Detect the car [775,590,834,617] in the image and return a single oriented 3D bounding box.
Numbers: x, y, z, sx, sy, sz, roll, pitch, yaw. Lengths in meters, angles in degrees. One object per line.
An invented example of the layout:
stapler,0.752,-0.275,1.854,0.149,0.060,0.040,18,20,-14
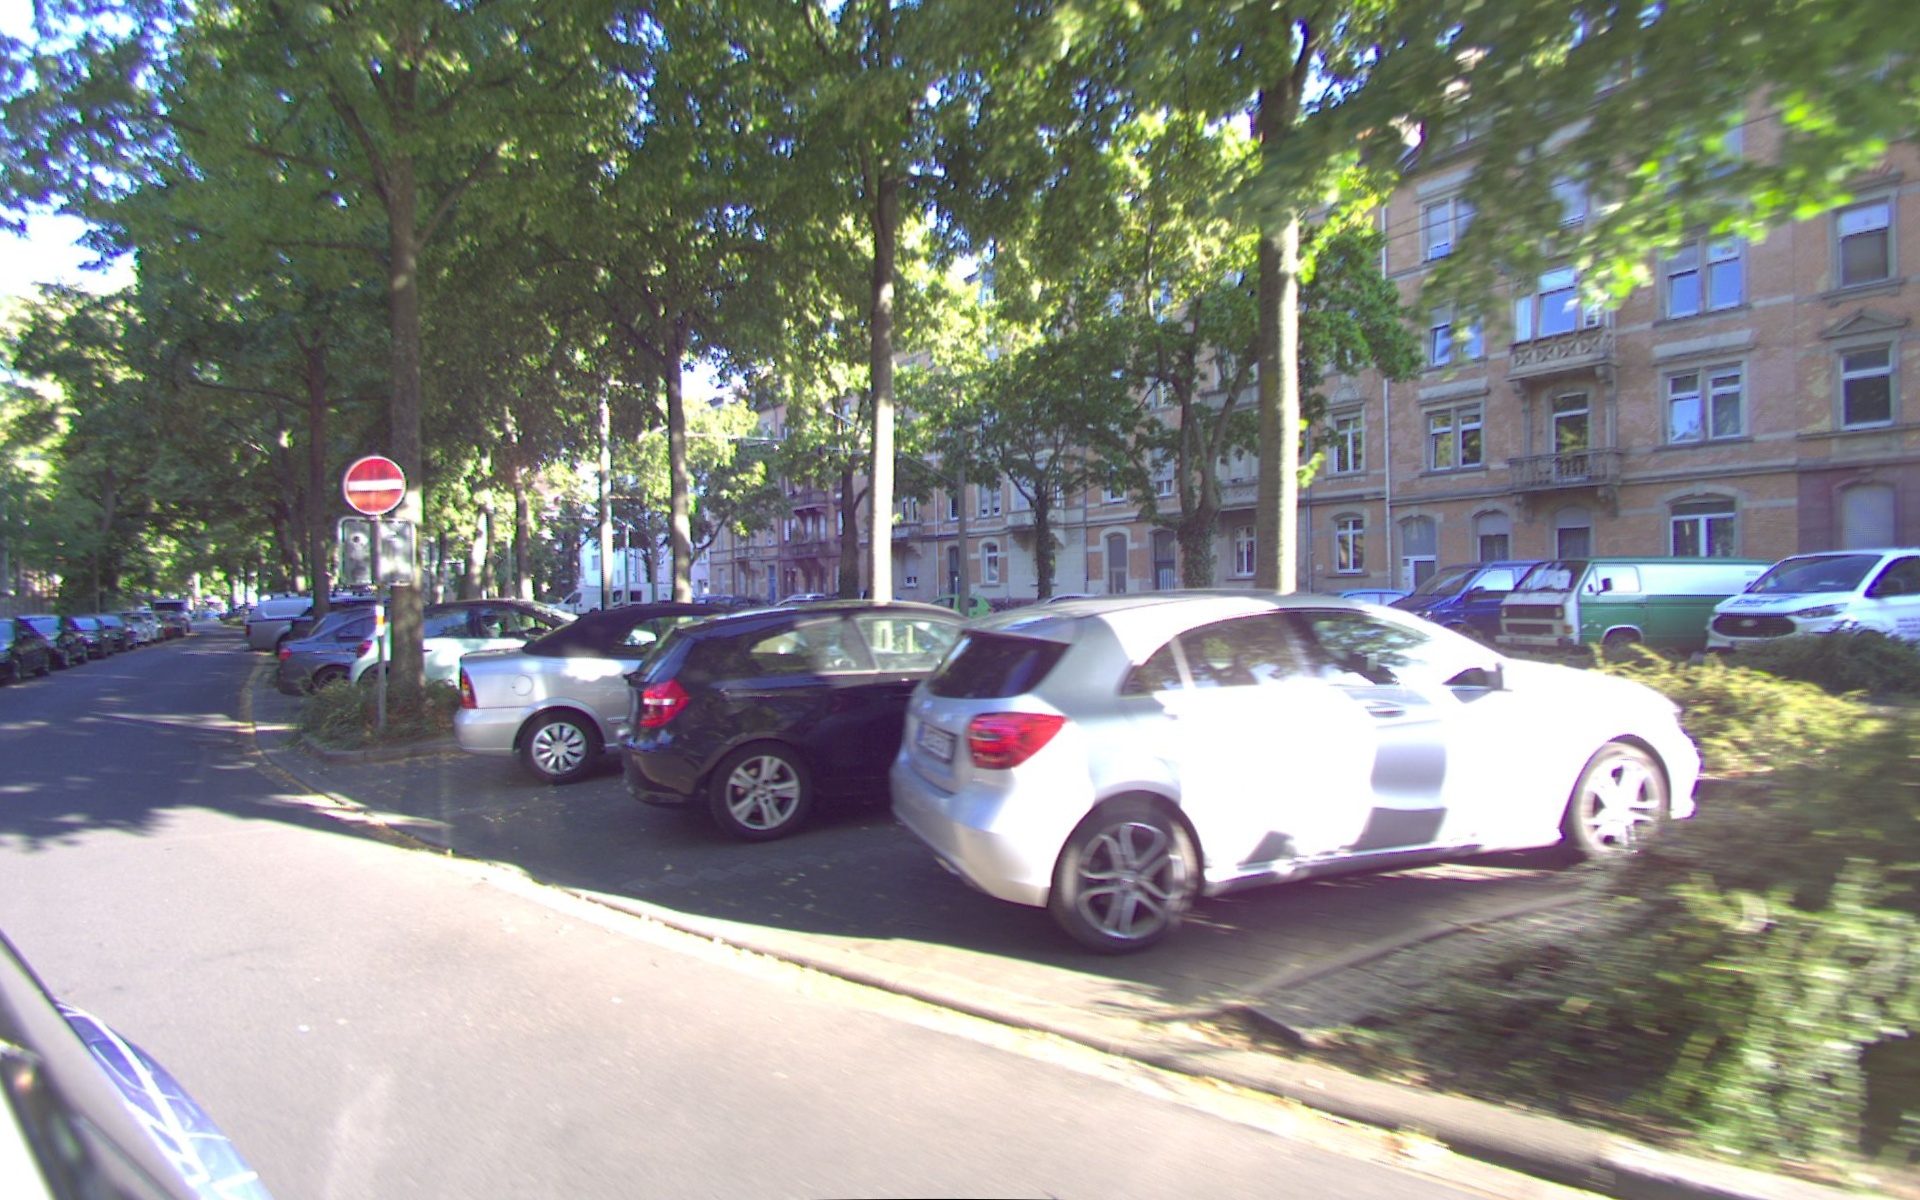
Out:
car,-9.347,0.207,60.744,1.826,1.542,4.033,2,-1,-37

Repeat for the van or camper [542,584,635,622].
van or camper,-24.645,0.193,67.339,5.584,2.487,2.004,0,-1,-11

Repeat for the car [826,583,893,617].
car,-5.578,0.026,55.782,1.826,1.796,4.033,2,-2,-37

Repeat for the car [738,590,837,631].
car,-7.129,0.430,41.925,3.935,1.590,2.004,-1,0,-9

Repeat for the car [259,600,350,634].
car,-45.727,1.145,70.696,4.811,1.992,2.048,-3,2,-6

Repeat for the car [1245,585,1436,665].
car,8.464,0.535,22.694,3.595,1.652,1.663,-1,0,-5

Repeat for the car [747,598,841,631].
car,-7.319,0.611,44.552,3.932,1.327,1.598,-1,0,-15

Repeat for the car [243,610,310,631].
car,-59.120,1.743,87.567,4.394,1.414,1.861,-4,1,-10

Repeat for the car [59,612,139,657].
car,-30.959,1.197,36.506,1.658,1.434,4.671,-2,0,-34

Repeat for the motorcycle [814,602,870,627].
motorcycle,-4.425,0.535,38.025,1.950,0.895,1.020,-1,0,2

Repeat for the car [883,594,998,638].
car,-0.698,0.516,34.547,3.679,1.391,1.711,-1,0,-9

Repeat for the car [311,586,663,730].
car,-6.128,0.693,13.554,3.824,1.504,1.835,-4,2,-8

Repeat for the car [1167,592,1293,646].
car,9.361,0.635,35.316,1.770,1.789,4.009,-1,0,-37

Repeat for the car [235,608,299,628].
car,-61.298,1.597,89.601,4.243,1.414,1.749,-4,1,-13

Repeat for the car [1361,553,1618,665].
car,10.274,0.168,19.859,3.941,2.029,2.001,-1,0,-3

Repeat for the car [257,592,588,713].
car,-8.181,0.752,15.789,4.133,1.449,1.836,-4,2,-9

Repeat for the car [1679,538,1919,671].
car,13.764,0.019,15.138,4.975,1.778,2.090,-1,0,-13

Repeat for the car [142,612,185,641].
car,-42.703,1.397,54.317,1.650,1.465,3.958,-2,0,-36

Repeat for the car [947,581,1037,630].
car,1.402,0.253,45.866,1.968,2.029,4.009,-3,1,-37

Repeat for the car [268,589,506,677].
car,-13.118,0.713,23.425,4.291,1.638,1.944,-4,2,-6

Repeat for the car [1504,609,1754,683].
car,16.398,1.088,25.056,1.827,1.552,4.782,-4,1,-37

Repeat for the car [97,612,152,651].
car,-34.241,1.242,41.523,1.659,1.465,4.083,-2,0,-39

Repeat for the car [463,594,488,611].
car,-61.382,0.322,128.135,1.968,2.029,4.007,-1,0,-40

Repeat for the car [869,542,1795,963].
car,1.825,0.515,5.202,4.221,1.440,1.780,-3,2,-18

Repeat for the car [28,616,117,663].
car,-27.697,1.183,31.685,1.658,1.293,4.298,-2,0,-36

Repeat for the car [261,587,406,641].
car,-29.891,0.645,48.420,5.431,2.152,2.084,-4,2,-5

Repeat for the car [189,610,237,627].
car,-90.954,2.268,123.256,4.367,1.634,1.640,-4,3,-19

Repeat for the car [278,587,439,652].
car,-19.731,0.609,33.299,4.105,1.794,1.883,-3,2,3

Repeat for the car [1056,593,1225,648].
car,4.870,0.540,27.613,4.225,1.391,1.595,-1,0,-4

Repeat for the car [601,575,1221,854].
car,-0.394,0.615,7.148,3.971,1.416,1.780,-3,2,-20

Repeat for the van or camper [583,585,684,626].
van or camper,-19.384,0.339,60.319,5.464,2.389,2.311,0,0,-8

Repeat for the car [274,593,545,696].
car,-9.700,0.735,18.132,3.810,1.449,1.836,-4,2,-9

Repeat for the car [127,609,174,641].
car,-39.846,1.220,49.887,1.569,1.465,3.563,-2,0,-35

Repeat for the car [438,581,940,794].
car,-2.355,0.639,9.155,3.917,1.375,1.780,-4,2,-19

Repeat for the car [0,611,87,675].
car,-24.474,1.081,26.676,1.658,1.537,4.299,-2,0,-34

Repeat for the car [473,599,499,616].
car,-57.594,0.904,122.979,1.968,2.029,4.007,-1,0,-40

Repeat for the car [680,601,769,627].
car,-11.551,0.676,49.852,4.138,1.176,1.502,-1,0,-7

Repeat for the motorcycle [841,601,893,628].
motorcycle,-3.387,0.519,36.755,1.698,0.962,1.023,-1,0,-15

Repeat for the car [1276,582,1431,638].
car,12.132,0.319,31.375,1.827,1.530,4.068,-4,1,-37

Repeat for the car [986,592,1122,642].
car,2.764,0.480,30.107,3.678,1.391,1.731,-1,0,-10

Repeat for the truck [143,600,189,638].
truck,-54.262,1.275,69.256,2.266,2.404,6.949,-2,0,-37

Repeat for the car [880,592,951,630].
car,-2.296,0.576,51.501,1.827,1.796,3.516,-4,1,-37

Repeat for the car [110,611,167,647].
car,-36.902,1.277,45.541,1.658,1.465,4.086,-2,0,-35

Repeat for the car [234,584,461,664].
car,-16.823,0.621,28.046,4.925,1.794,1.991,-4,2,-6

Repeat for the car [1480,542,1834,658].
car,11.830,-0.013,17.361,4.760,1.778,2.088,-1,0,-7

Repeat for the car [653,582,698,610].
car,-21.707,-0.290,77.238,1.967,2.029,4.009,-1,0,-37

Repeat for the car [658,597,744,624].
car,-13.335,0.517,52.230,4.124,1.320,1.638,-1,0,-6

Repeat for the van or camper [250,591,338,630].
van or camper,-48.032,0.744,73.097,4.809,2.488,2.049,-3,2,-8

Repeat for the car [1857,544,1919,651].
car,20.696,-0.123,19.341,1.828,2.078,5.011,-4,1,-37

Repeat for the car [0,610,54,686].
car,-21.530,1.025,22.308,1.658,1.537,4.501,-2,0,-34
